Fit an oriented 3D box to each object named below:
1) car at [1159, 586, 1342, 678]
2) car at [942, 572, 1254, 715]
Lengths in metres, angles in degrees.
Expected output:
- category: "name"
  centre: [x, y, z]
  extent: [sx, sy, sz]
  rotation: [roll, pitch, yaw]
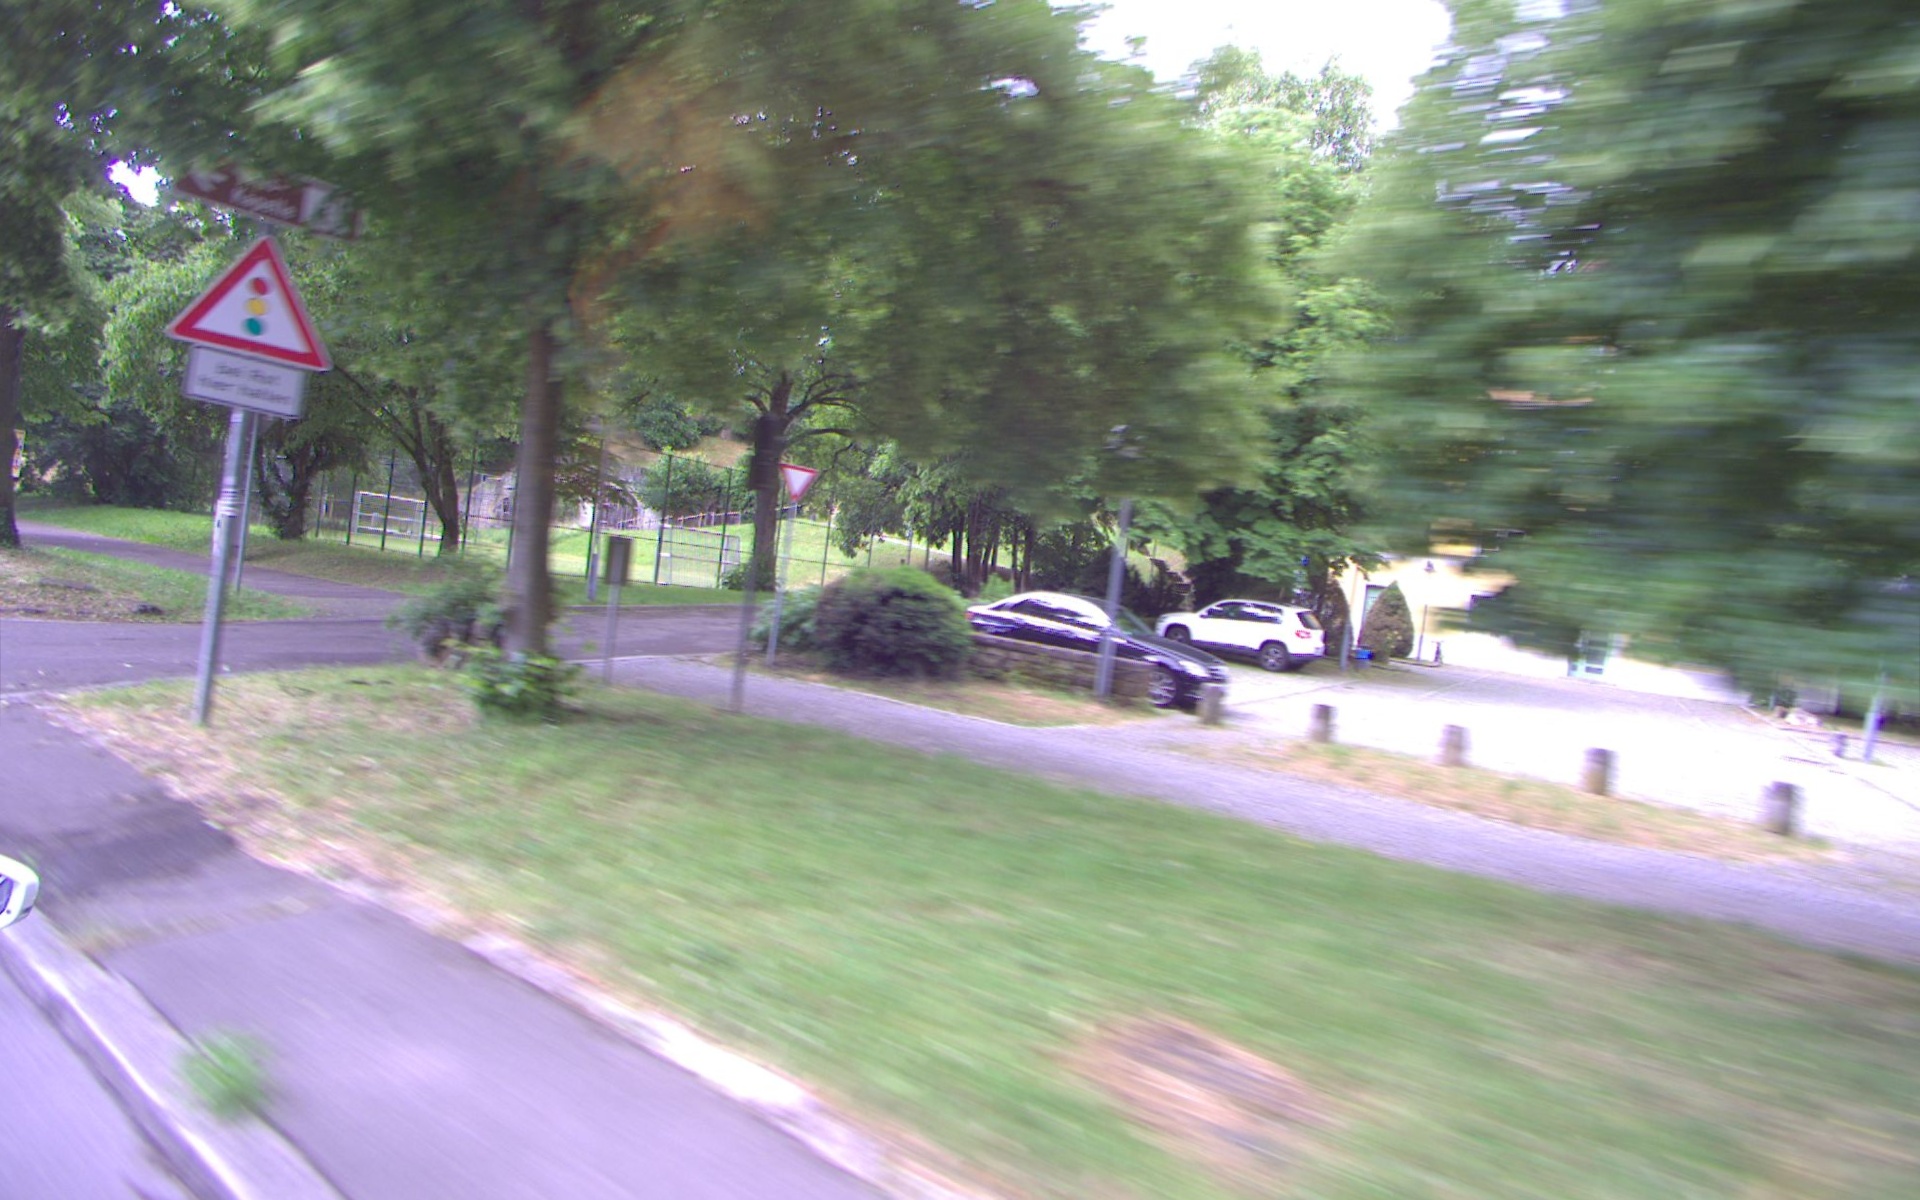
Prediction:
- category: "car"
  centre: [7.445, 0.756, 25.931]
  extent: [3.935, 1.674, 1.991]
  rotation: [10, 6, 34]
- category: "car"
  centre: [2.148, 0.611, 16.015]
  extent: [4.390, 1.450, 1.908]
  rotation: [10, 4, 30]
